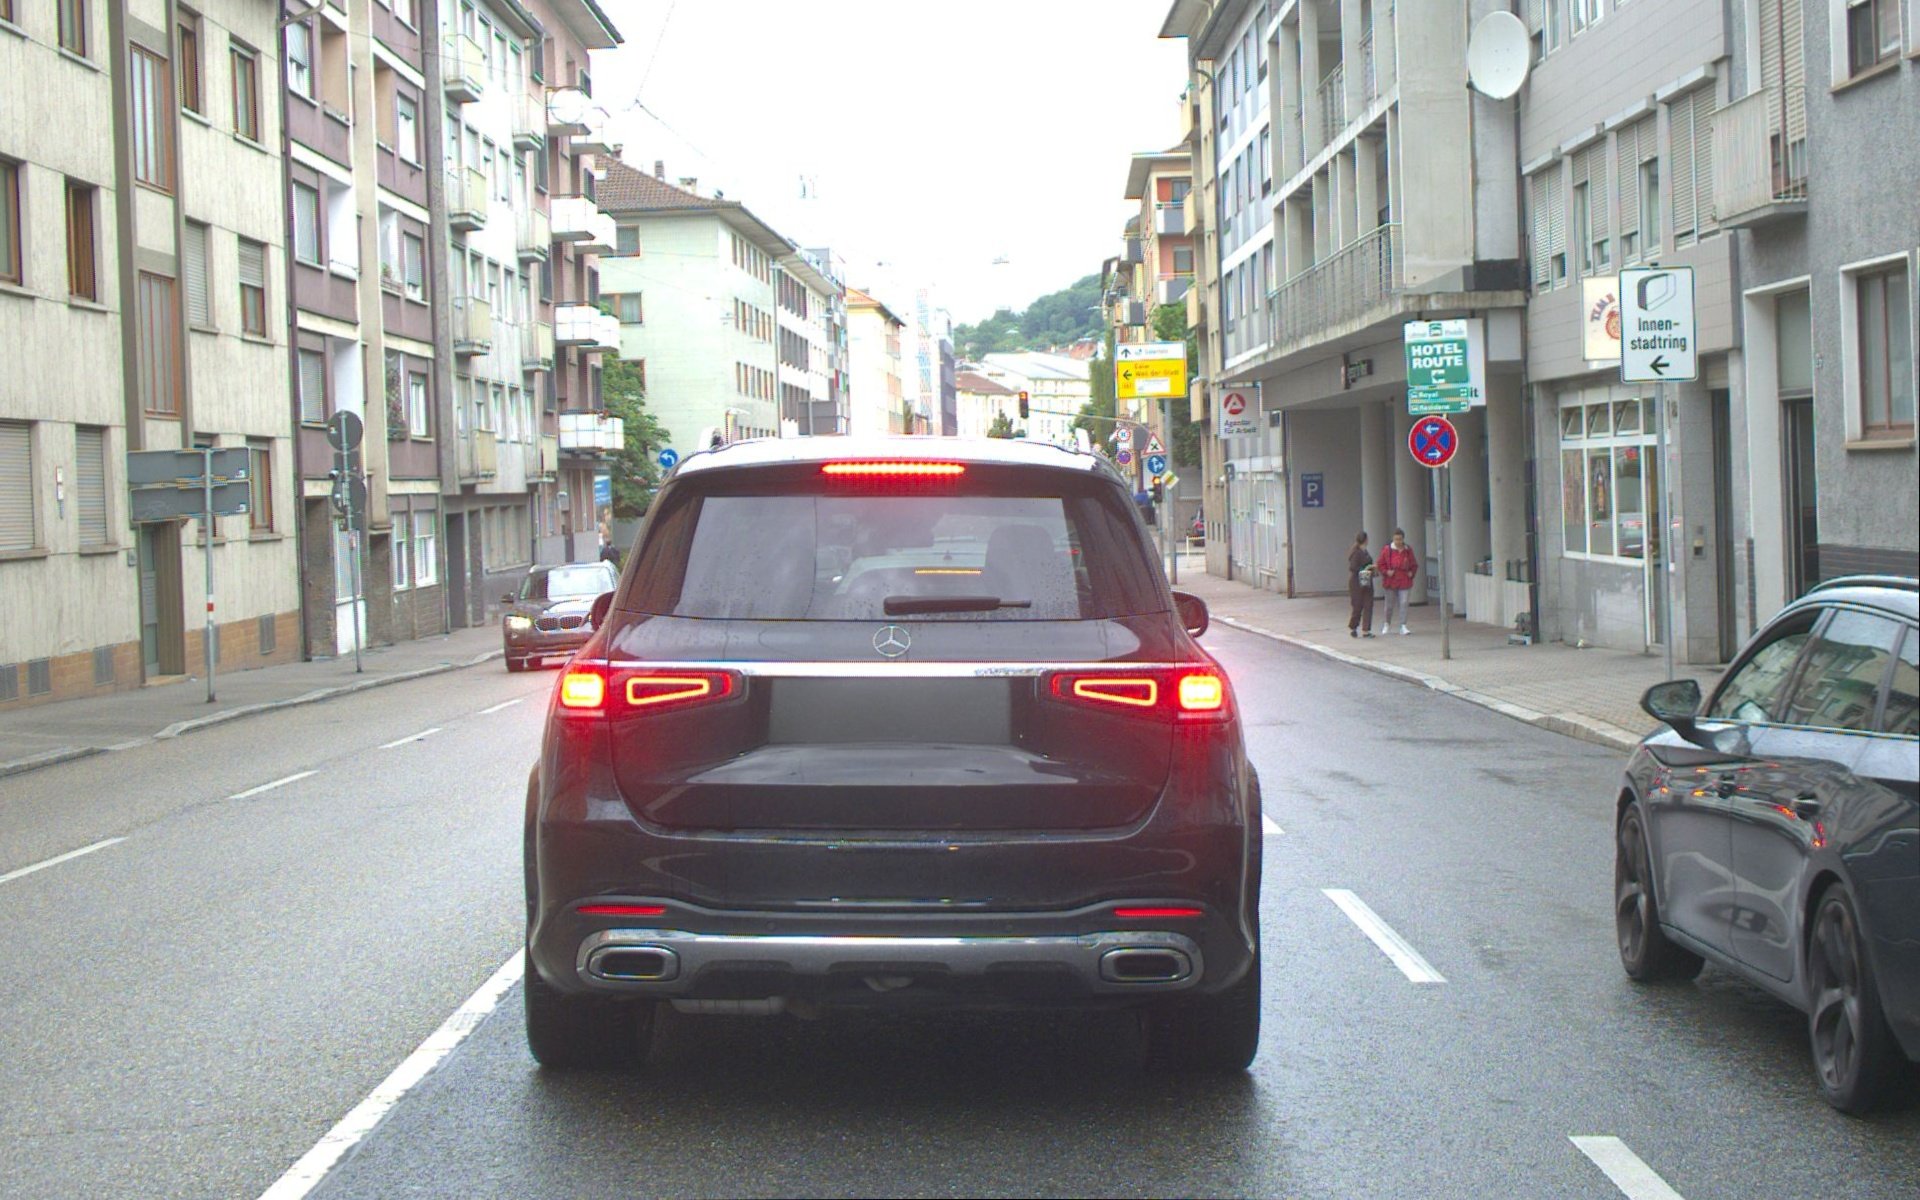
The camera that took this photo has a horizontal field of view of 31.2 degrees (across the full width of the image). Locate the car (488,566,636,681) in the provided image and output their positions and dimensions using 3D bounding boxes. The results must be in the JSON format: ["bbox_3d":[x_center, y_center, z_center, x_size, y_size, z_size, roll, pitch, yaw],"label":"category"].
[{"bbox_3d":[-5.918,0.323,51.504,1.703,1.502,4.160,-4,1,-1],"label":"car"}]

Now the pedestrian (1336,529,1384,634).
[{"bbox_3d":[5.835,-0.273,50.155,0.506,1.495,0.562,-4,1,-3],"label":"pedestrian"}]

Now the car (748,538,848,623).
[{"bbox_3d":[-3.629,-0.471,77.779,1.836,1.721,4.474,-4,1,2],"label":"car"}]

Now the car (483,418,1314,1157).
[{"bbox_3d":[-0.183,0.428,10.518,2.025,1.799,4.000,1,1,-1],"label":"car"}]

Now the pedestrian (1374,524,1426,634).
[{"bbox_3d":[6.424,-0.310,50.199,0.560,1.573,0.526,-4,1,-3],"label":"pedestrian"}]

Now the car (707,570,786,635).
[{"bbox_3d":[-5.760,0.051,93.071,1.797,1.579,4.316,-3,1,0],"label":"car"}]

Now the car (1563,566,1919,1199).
[{"bbox_3d":[3.005,0.646,10.100,1.621,1.425,4.312,1,1,-1],"label":"car"}]
